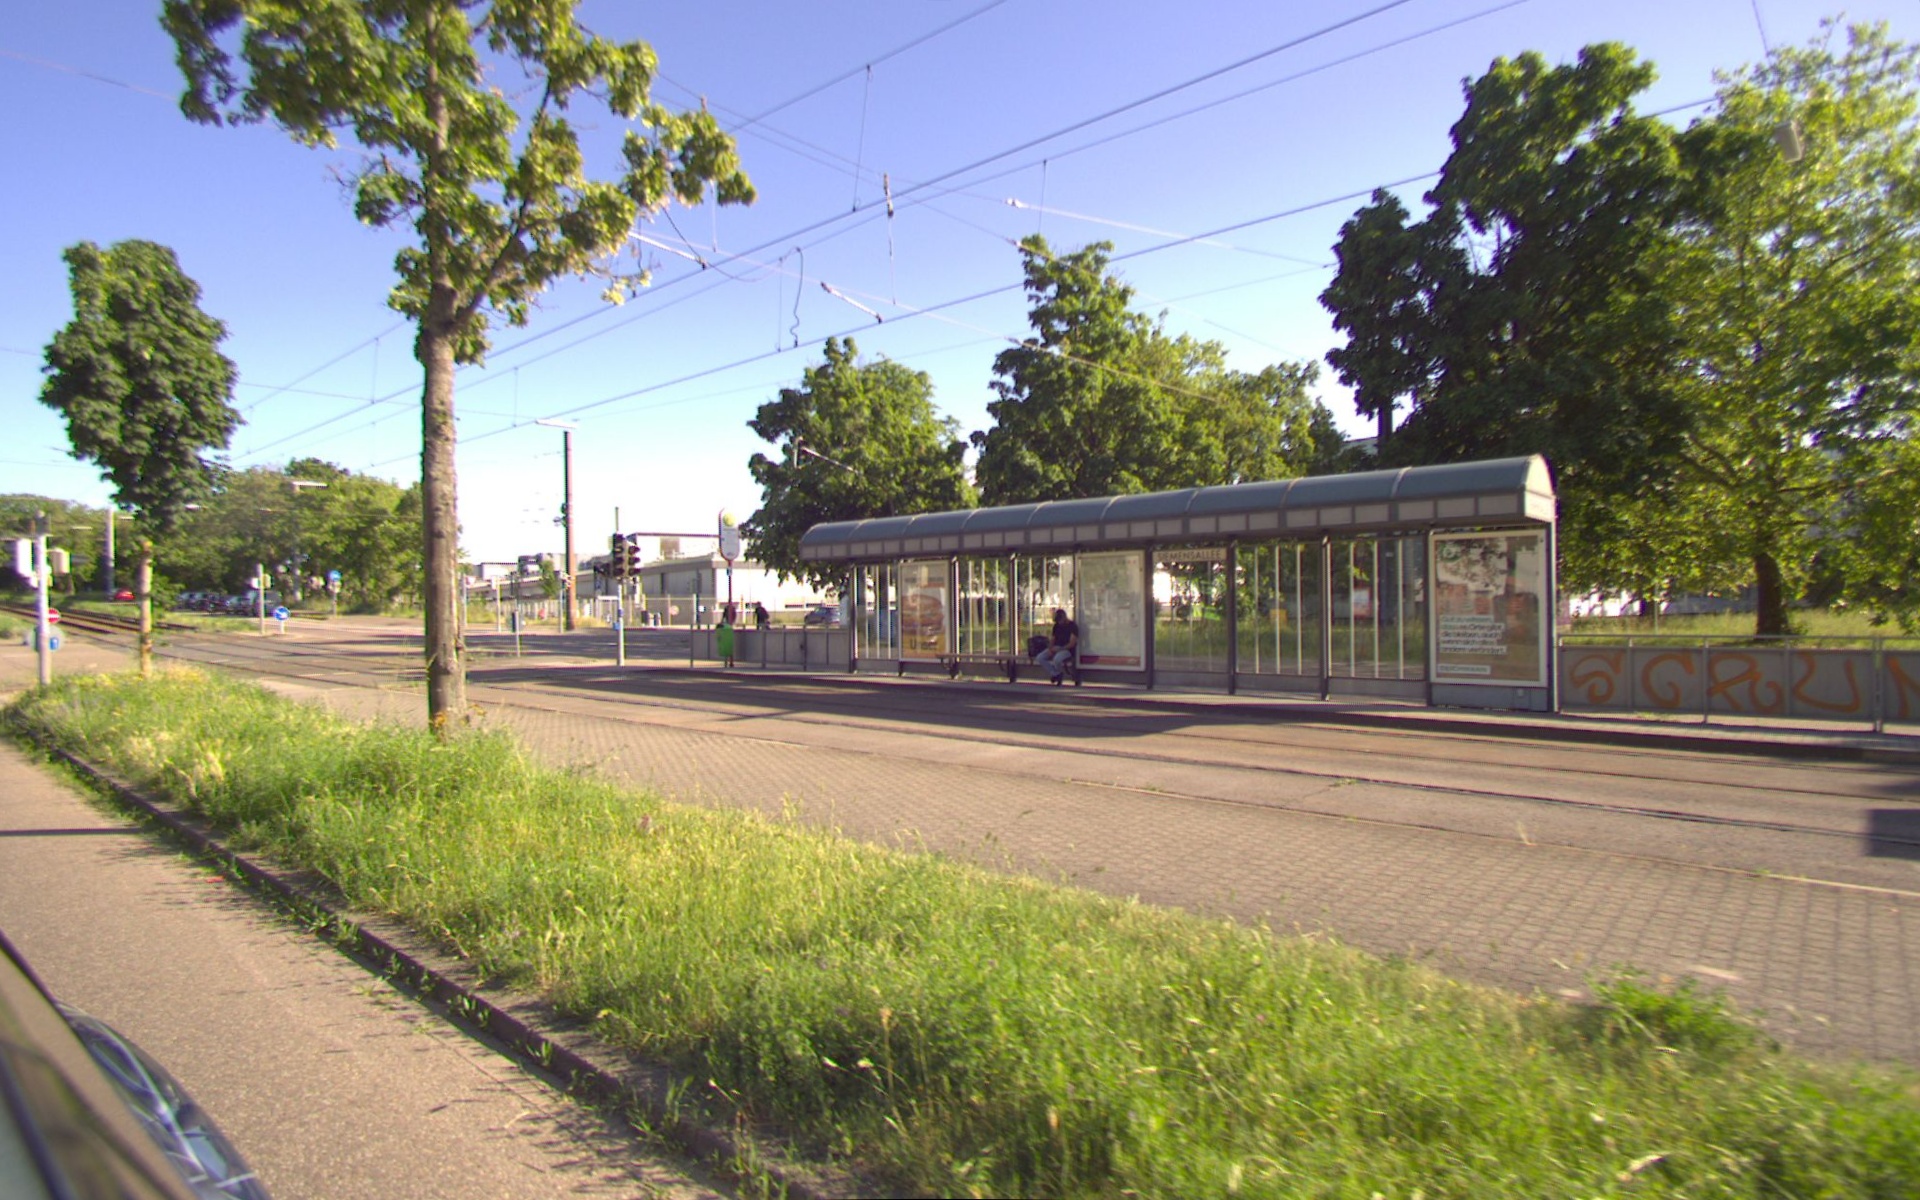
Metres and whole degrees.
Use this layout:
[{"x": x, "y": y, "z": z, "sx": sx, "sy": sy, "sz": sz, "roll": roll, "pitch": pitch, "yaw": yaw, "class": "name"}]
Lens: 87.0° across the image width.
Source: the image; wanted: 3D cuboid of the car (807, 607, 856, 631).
[{"x": -9.464, "y": 1.372, "z": 74.429, "sx": 1.967, "sy": 1.719, "sz": 4.010, "roll": -1, "pitch": 0, "yaw": -34, "class": "car"}]

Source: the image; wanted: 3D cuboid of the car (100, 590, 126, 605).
[{"x": -96.233, "y": -0.239, "z": 114.979, "sx": 3.453, "sy": 1.597, "sz": 1.680, "roll": -1, "pitch": -2, "yaw": 40, "class": "car"}]

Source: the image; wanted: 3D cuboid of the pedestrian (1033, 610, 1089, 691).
[{"x": 1.625, "y": 0.810, "z": 16.265, "sx": 0.679, "sy": 1.258, "sz": 0.643, "roll": -1, "pitch": -3, "yaw": 32, "class": "pedestrian"}]

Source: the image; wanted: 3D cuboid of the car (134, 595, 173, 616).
[{"x": -61.639, "y": 0.440, "z": 77.319, "sx": 3.453, "sy": 1.597, "sz": 1.680, "roll": -1, "pitch": -2, "yaw": 40, "class": "car"}]

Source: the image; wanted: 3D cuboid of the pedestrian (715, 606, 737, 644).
[{"x": -10.512, "y": 1.129, "z": 45.408, "sx": 0.796, "sy": 1.689, "sz": 0.637, "roll": -1, "pitch": 0, "yaw": 2, "class": "pedestrian"}]

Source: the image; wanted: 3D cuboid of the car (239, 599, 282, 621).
[{"x": -52.083, "y": 0.759, "z": 75.348, "sx": 3.453, "sy": 1.597, "sz": 1.749, "roll": -1, "pitch": -2, "yaw": 40, "class": "car"}]

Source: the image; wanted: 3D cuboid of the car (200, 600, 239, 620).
[{"x": -58.607, "y": 0.799, "z": 80.122, "sx": 3.453, "sy": 1.597, "sz": 1.680, "roll": -1, "pitch": -2, "yaw": 40, "class": "car"}]

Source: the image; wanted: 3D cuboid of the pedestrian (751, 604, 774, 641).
[{"x": -8.408, "y": 0.950, "z": 43.114, "sx": 0.782, "sy": 1.580, "sz": 0.726, "roll": -1, "pitch": 0, "yaw": 2, "class": "pedestrian"}]
